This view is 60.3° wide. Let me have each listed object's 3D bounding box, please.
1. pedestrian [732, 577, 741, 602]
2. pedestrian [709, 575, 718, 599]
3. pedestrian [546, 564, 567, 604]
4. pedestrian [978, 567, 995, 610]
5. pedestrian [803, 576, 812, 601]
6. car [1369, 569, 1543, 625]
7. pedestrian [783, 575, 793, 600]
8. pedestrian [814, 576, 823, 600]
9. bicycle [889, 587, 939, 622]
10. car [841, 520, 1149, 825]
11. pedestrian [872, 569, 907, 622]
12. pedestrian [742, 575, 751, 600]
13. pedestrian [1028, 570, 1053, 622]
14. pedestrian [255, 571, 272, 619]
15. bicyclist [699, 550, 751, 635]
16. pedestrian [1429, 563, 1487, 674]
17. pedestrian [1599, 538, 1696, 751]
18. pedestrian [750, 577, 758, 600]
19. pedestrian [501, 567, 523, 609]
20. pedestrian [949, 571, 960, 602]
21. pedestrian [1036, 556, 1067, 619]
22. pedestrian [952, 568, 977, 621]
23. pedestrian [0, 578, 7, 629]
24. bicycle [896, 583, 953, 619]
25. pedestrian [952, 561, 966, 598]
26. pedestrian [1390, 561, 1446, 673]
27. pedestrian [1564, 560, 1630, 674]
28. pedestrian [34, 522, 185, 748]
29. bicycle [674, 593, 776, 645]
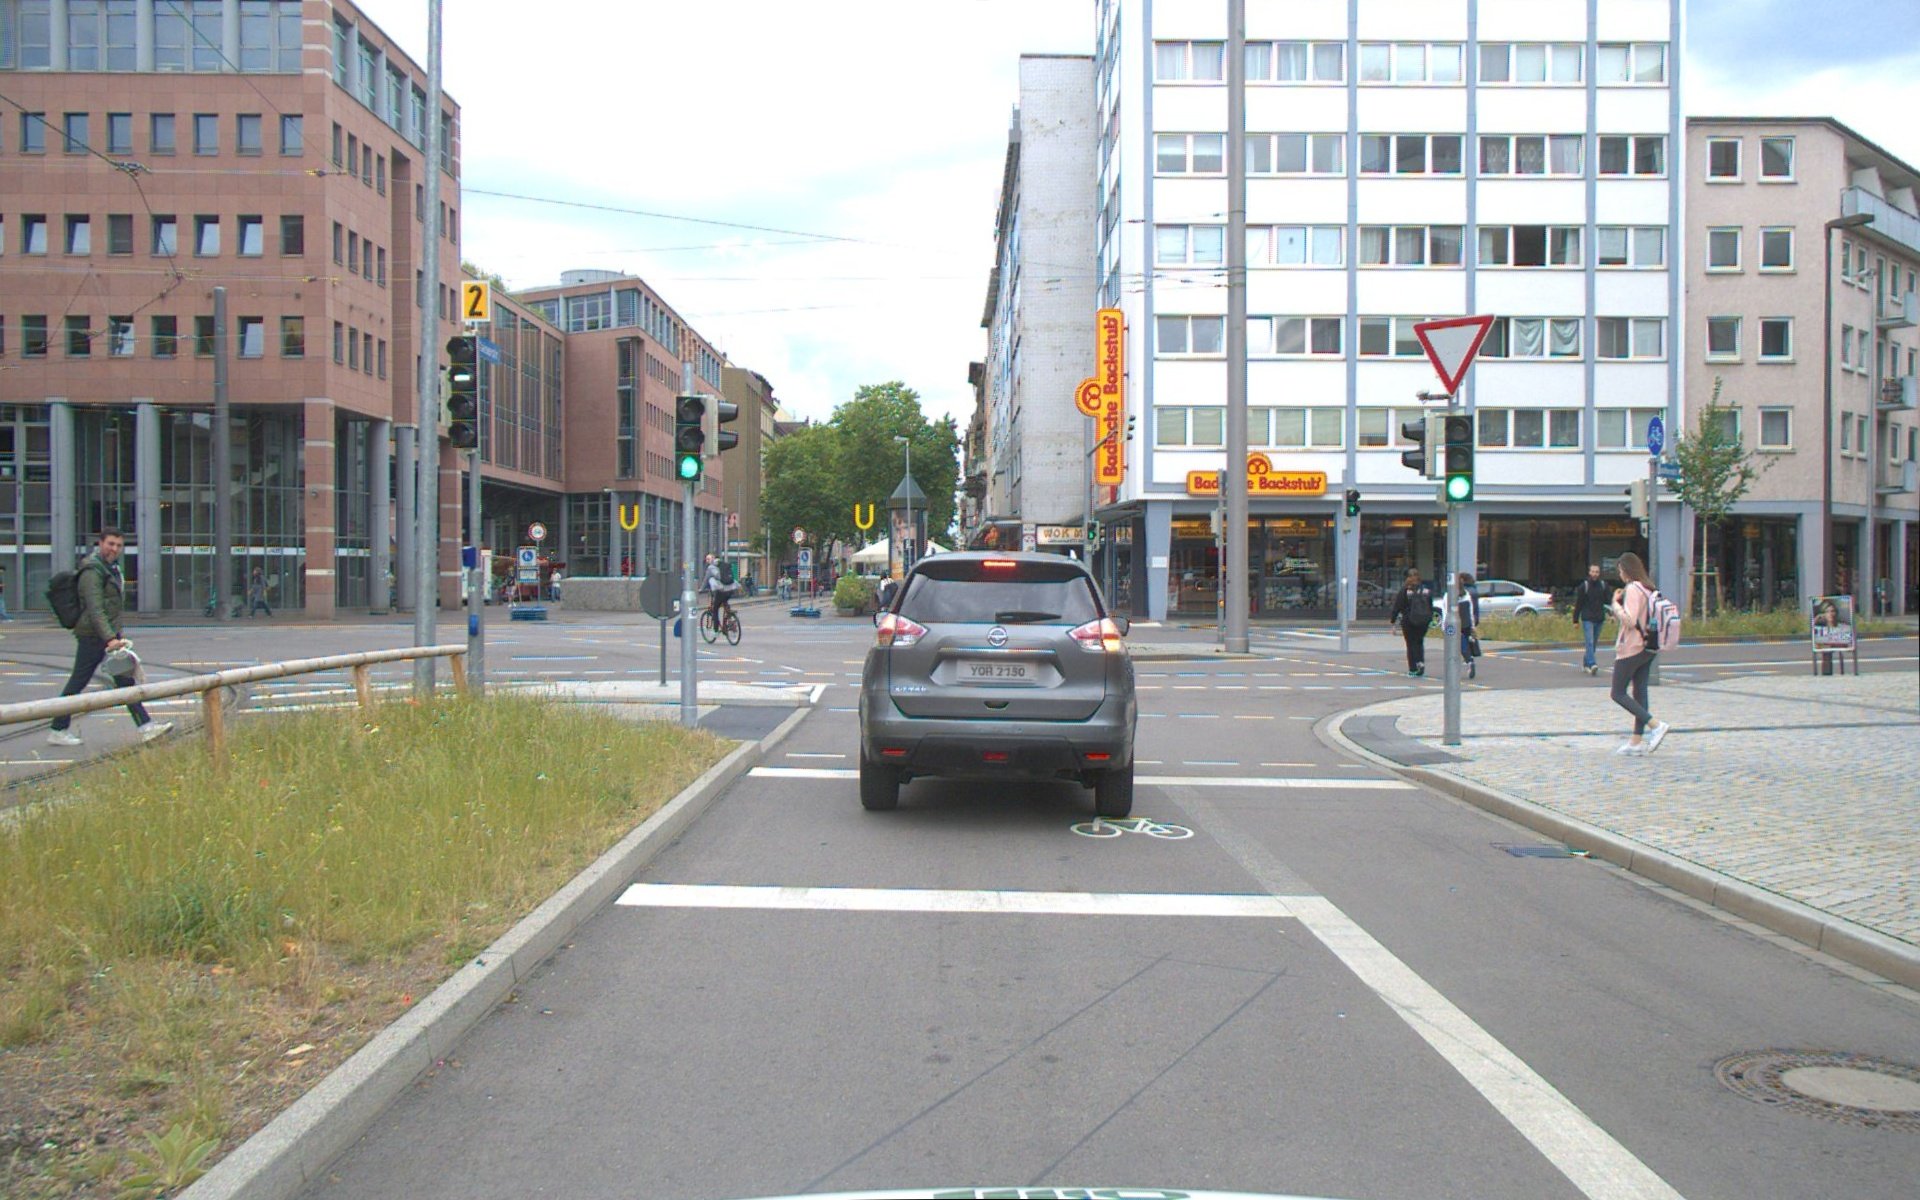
[{"bbox_3d":[-15.778,-0.717,116.940,0.589,1.744,0.654,1,1,-8],"label":"pedestrian"},{"bbox_3d":[-18.550,-0.988,124.517,0.589,1.744,0.654,1,1,-8],"label":"pedestrian"},{"bbox_3d":[-19.572,-0.778,80.233,0.685,1.874,0.735,1,1,19],"label":"pedestrian"},{"bbox_3d":[1.154,-0.512,71.741,0.723,1.853,0.662,0,1,-3],"label":"pedestrian"},{"bbox_3d":[-10.945,-0.842,118.456,0.589,1.744,0.654,1,1,-8],"label":"pedestrian"},{"bbox_3d":[14.223,-0.087,47.541,4.461,1.507,1.747,-1,0,-3],"label":"car"},{"bbox_3d":[-10.593,-0.774,101.652,0.589,1.563,0.654,1,1,-8],"label":"pedestrian"},{"bbox_3d":[-10.161,-0.848,118.616,0.589,1.744,0.654,1,1,-8],"label":"pedestrian"},{"bbox_3d":[-1.574,0.156,56.618,1.667,1.192,0.435,1,1,-15],"label":"bicycle"},{"bbox_3d":[0.210,0.434,12.148,1.825,1.806,4.566,0,0,0],"label":"car"},{"bbox_3d":[-2.347,-0.162,55.109,0.906,1.734,0.735,1,1,19],"label":"pedestrian"},{"bbox_3d":[-14.731,-0.849,114.340,0.589,1.744,0.654,1,1,-8],"label":"pedestrian"},{"bbox_3d":[2.694,-0.146,55.485,0.695,1.734,0.735,1,1,12],"label":"pedestrian"},{"bbox_3d":[-22.930,-0.165,54.458,0.442,1.559,0.519,1,1,-18],"label":"pedestrian"},{"bbox_3d":[-5.168,-0.165,36.368,0.827,1.844,0.866,0,1,-36],"label":"bicyclist"},{"bbox_3d":[8.200,0.295,27.256,0.609,1.792,0.778,1,1,-8],"label":"pedestrian"},{"bbox_3d":[5.931,0.373,14.289,0.512,1.792,0.601,1,1,-8],"label":"pedestrian"},{"bbox_3d":[-15.834,-0.875,127.316,0.589,1.744,0.654,1,1,-8],"label":"pedestrian"},{"bbox_3d":[-20.402,-0.550,75.291,0.727,1.874,0.692,0,1,-40],"label":"pedestrian"},{"bbox_3d":[-0.290,-0.792,93.429,0.599,1.734,0.619,1,1,0],"label":"pedestrian"},{"bbox_3d":[2.751,-0.387,49.821,0.699,1.864,1.015,1,1,-8],"label":"pedestrian"},{"bbox_3d":[0.146,-0.186,55.810,0.718,1.776,0.662,1,1,-9],"label":"pedestrian"},{"bbox_3d":[-29.921,0.100,51.047,0.730,1.588,0.571,1,-1,-19],"label":"pedestrian"},{"bbox_3d":[-1.206,0.048,56.182,1.836,1.192,0.529,1,1,-15],"label":"bicycle"},{"bbox_3d":[-0.048,-0.967,78.897,0.630,1.734,0.559,1,1,0],"label":"pedestrian"},{"bbox_3d":[7.479,0.274,27.025,0.609,1.792,0.778,1,1,-8],"label":"pedestrian"},{"bbox_3d":[10.872,0.283,28.267,0.786,1.895,1.154,-2,0,9],"label":"pedestrian"},{"bbox_3d":[-7.484,0.302,14.590,0.878,1.923,0.799,1,0,-3],"label":"pedestrian"},{"bbox_3d":[-5.207,0.393,36.419,0.894,1.063,3.238,0,1,-34],"label":"bicycle"}]
